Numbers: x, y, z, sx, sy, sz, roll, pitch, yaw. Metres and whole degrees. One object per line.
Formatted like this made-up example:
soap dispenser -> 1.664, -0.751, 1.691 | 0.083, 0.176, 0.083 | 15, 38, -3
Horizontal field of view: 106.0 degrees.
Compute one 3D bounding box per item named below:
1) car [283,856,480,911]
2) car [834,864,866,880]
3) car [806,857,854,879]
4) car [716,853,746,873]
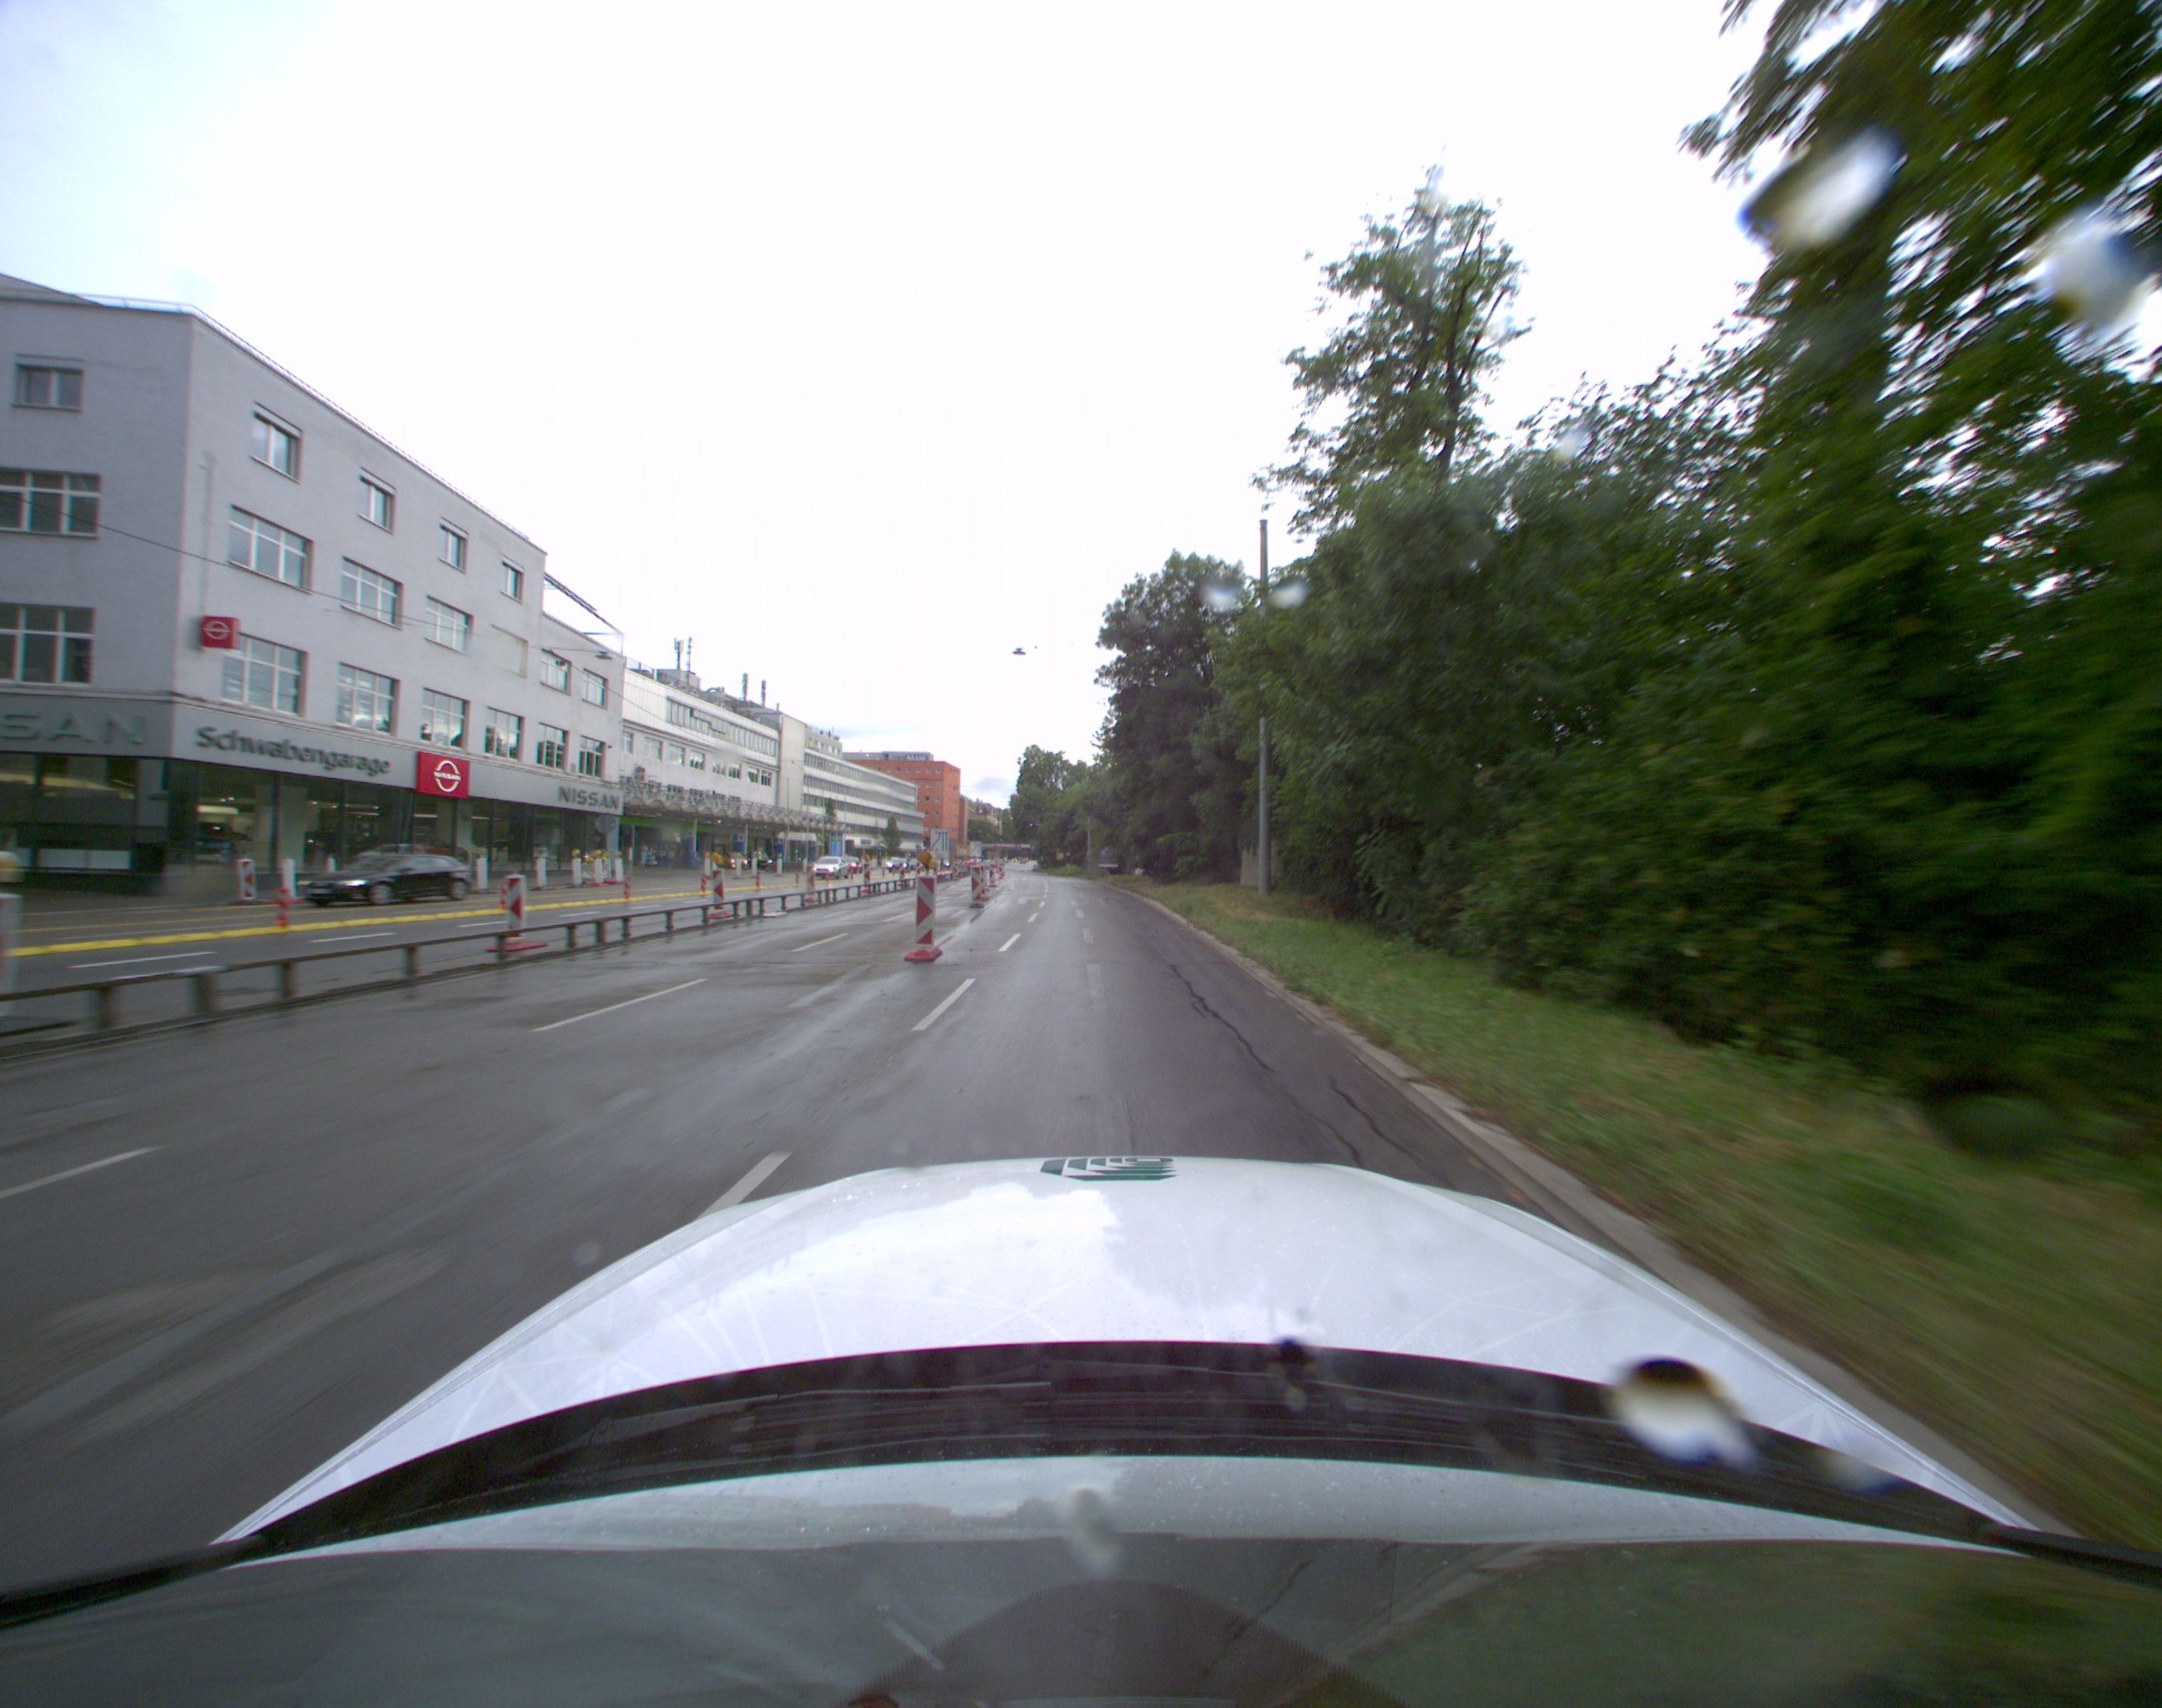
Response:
car -> -19.599, 0.790, 23.108 | 1.755, 1.406, 4.253 | 1, -1, 2
car -> -20.784, 1.604, 73.361 | 1.775, 1.381, 3.997 | 0, 0, -2
car -> -16.092, 0.878, 52.453 | 1.775, 1.381, 4.452 | 0, 0, -2
car -> -32.358, 0.841, 75.326 | 1.812, 1.655, 3.959 | 4, -1, -33
